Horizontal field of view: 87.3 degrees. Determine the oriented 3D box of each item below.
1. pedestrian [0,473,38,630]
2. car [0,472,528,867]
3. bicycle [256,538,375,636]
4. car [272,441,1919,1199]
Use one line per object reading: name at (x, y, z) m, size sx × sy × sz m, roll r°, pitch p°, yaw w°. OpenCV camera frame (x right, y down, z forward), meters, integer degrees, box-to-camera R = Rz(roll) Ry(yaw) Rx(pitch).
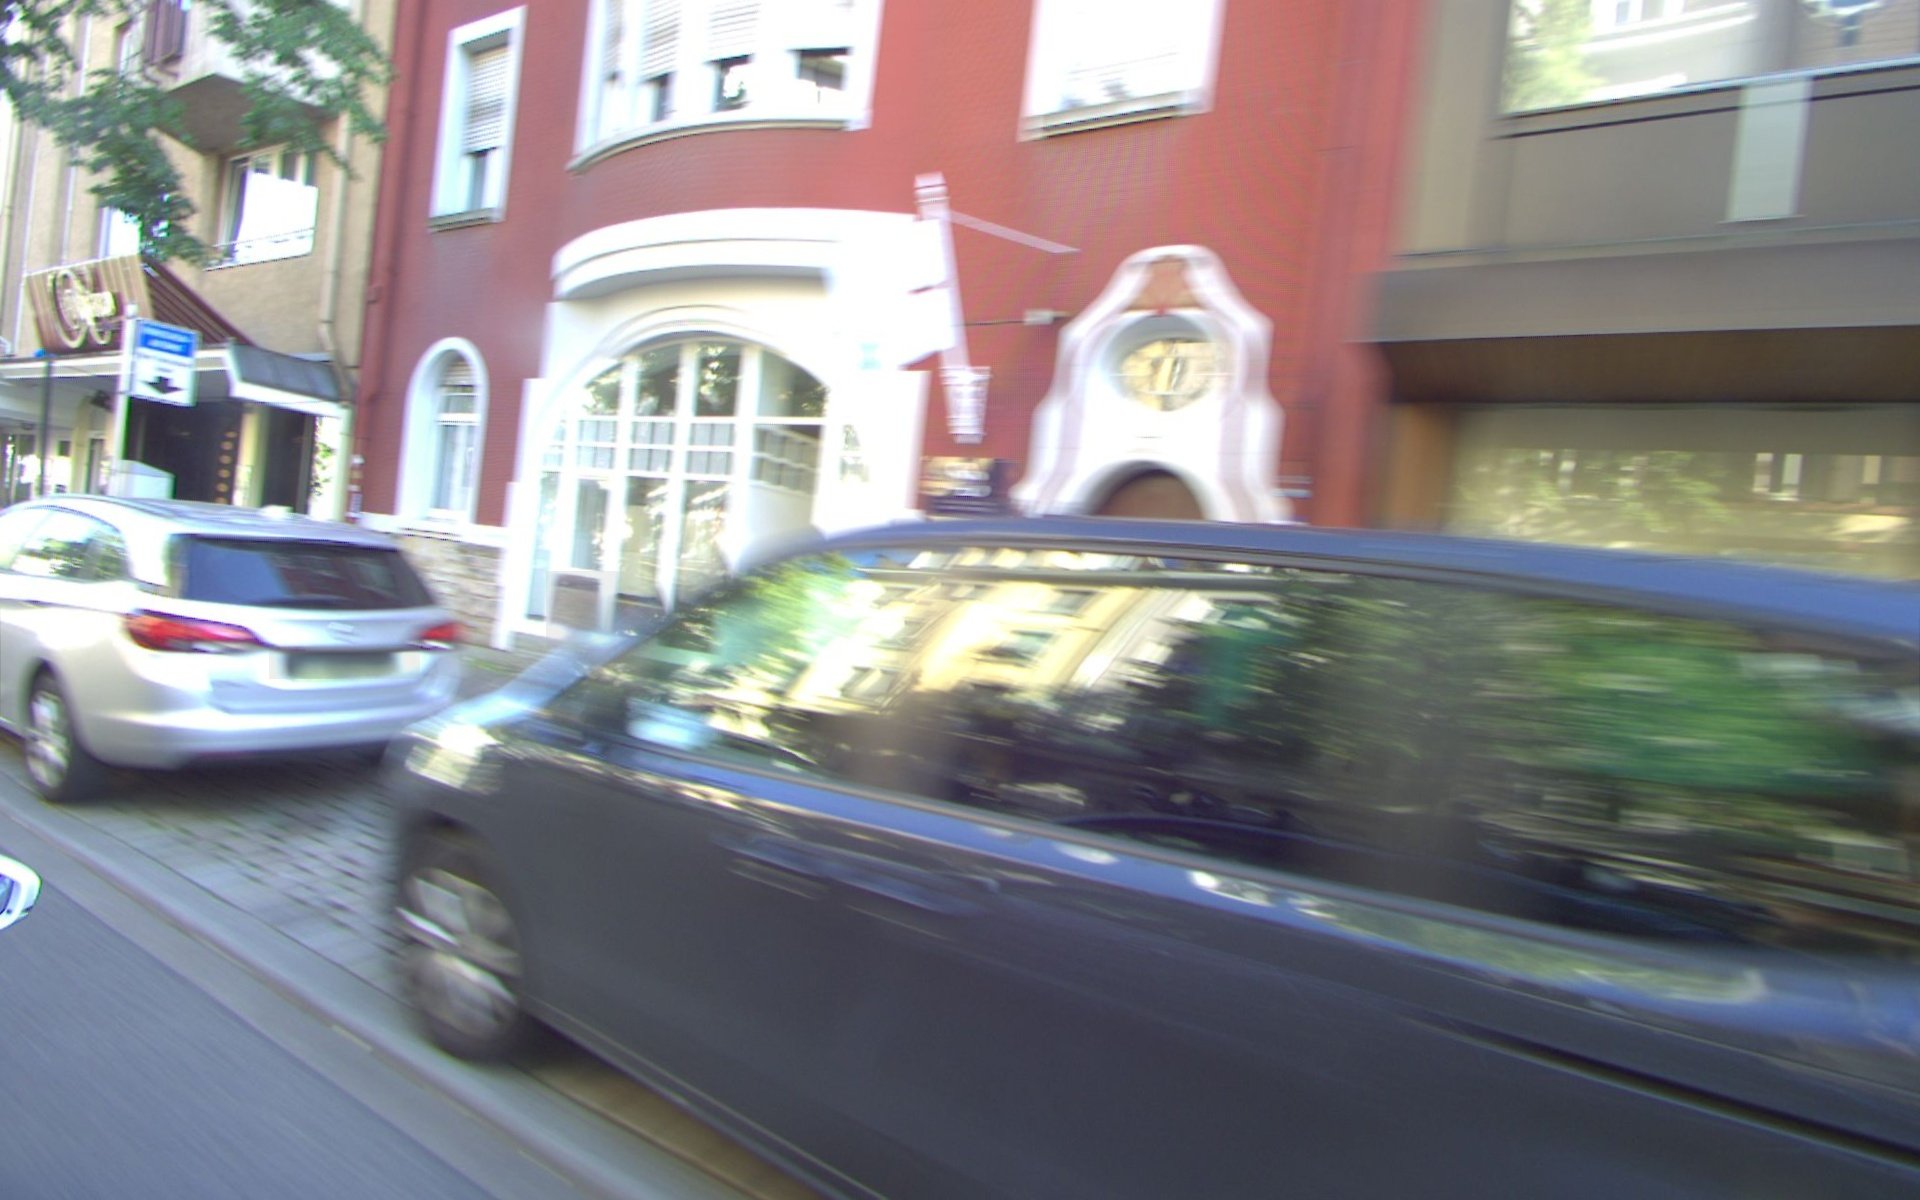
pedestrian at (-10.072, -0.542, 10.022) m, size 0.878 × 1.556 × 1.056 m, roll 7°, pitch 1°, yaw 36°
car at (-5.019, 0.112, 6.266) m, size 4.761 × 1.618 × 1.822 m, roll 7°, pitch 3°, yaw 32°
bicycle at (-7.886, -0.171, 12.291) m, size 1.672 × 1.014 × 0.474 m, roll 7°, pitch 1°, yaw 32°
car at (0.166, 0.627, 2.787) m, size 4.853 × 1.801 × 1.820 m, roll 7°, pitch 3°, yaw 36°
